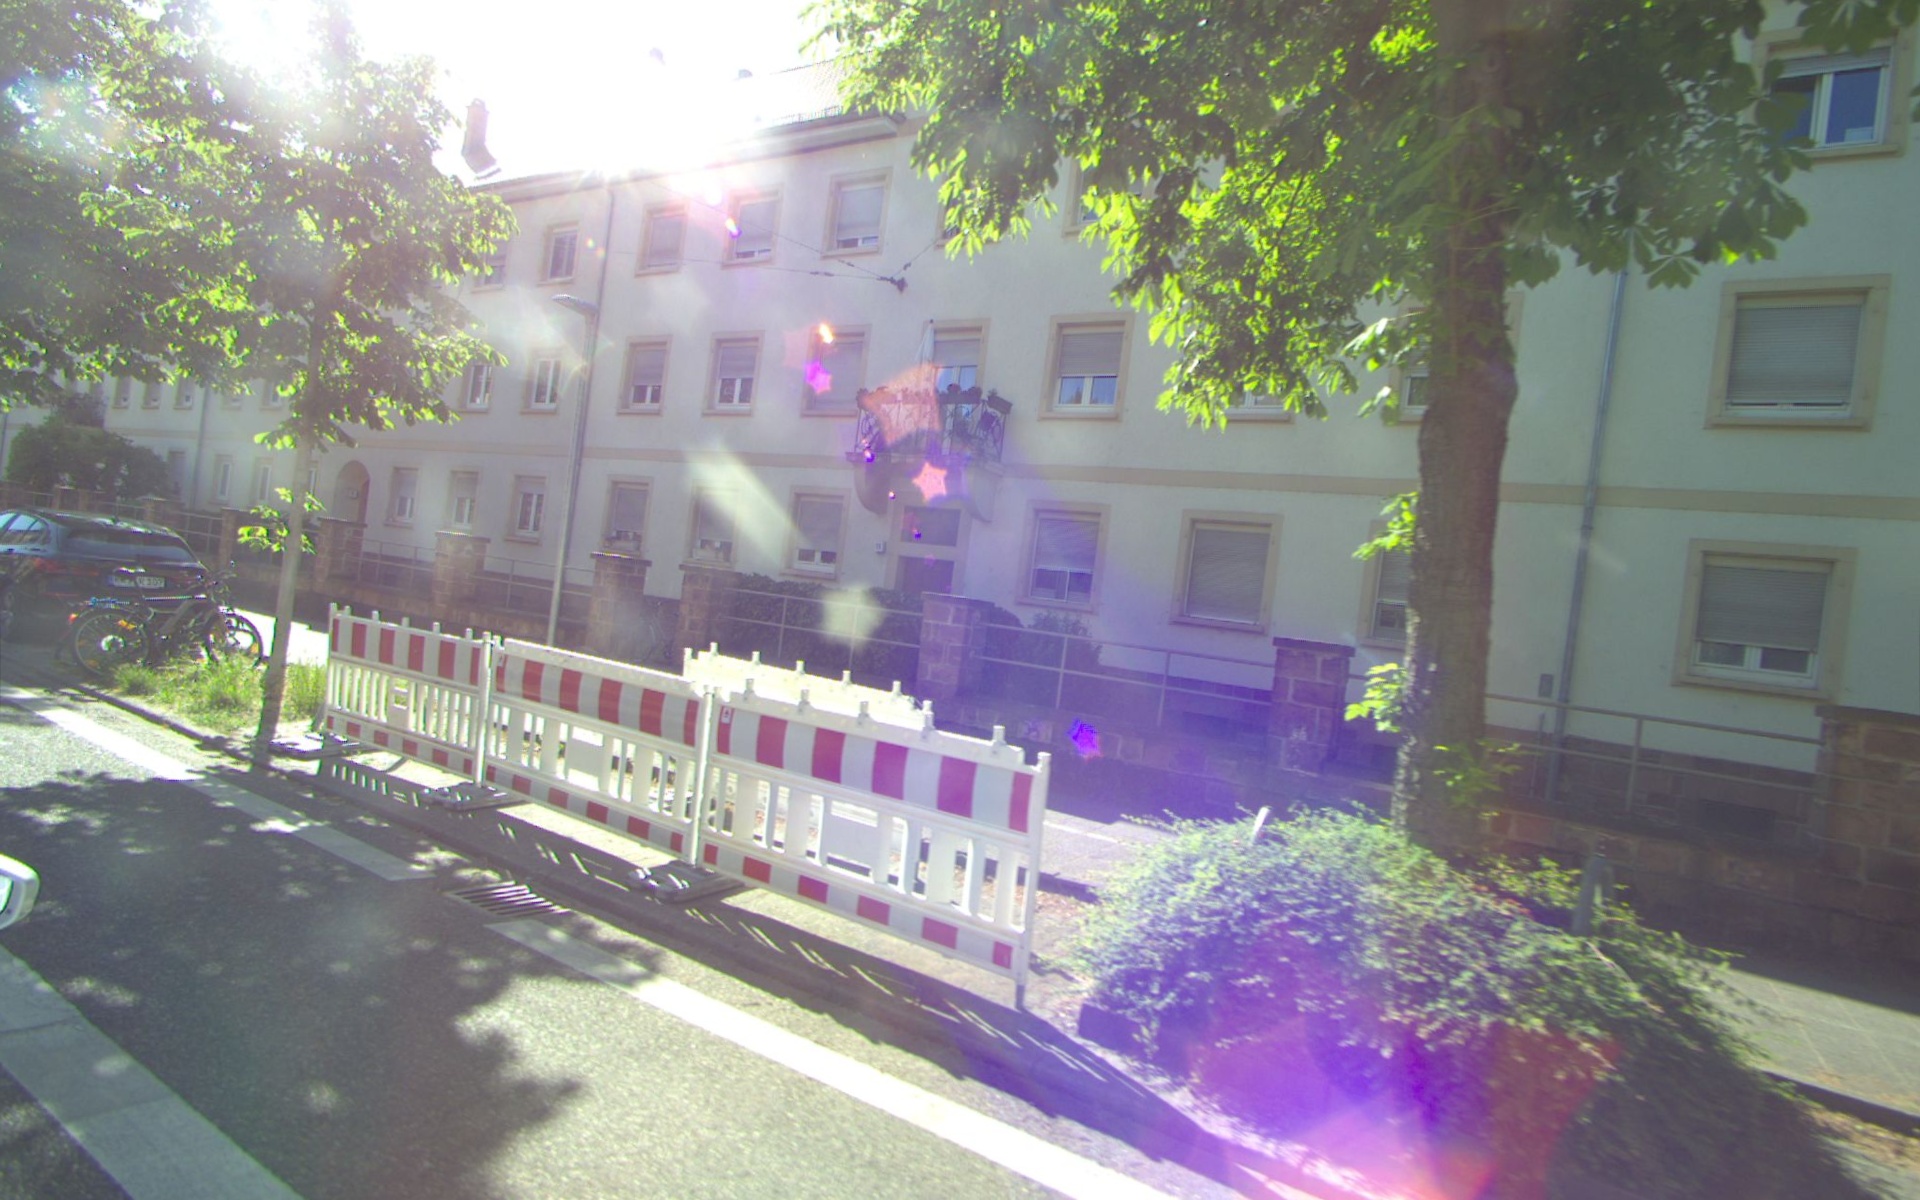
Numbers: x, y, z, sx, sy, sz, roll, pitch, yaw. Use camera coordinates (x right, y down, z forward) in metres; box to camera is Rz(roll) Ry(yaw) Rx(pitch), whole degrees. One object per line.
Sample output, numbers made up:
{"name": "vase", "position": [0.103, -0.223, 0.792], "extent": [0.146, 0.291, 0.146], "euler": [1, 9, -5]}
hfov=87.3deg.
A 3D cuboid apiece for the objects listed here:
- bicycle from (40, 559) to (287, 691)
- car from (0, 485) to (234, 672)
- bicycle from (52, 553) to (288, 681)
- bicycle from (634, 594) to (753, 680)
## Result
{"name": "bicycle", "position": [-7.788, 0.290, 9.937], "extent": [0.426, 1.089, 1.765], "euler": [7, -3, 33]}
{"name": "car", "position": [-10.709, -0.357, 12.005], "extent": [4.160, 1.781, 1.669], "euler": [7, -1, 31]}
{"name": "bicycle", "position": [-8.064, 0.218, 10.364], "extent": [0.426, 1.089, 1.765], "euler": [7, -3, 33]}
{"name": "bicycle", "position": [-4.111, 0.557, 15.474], "extent": [1.840, 1.066, 0.560], "euler": [7, 0, 32]}
